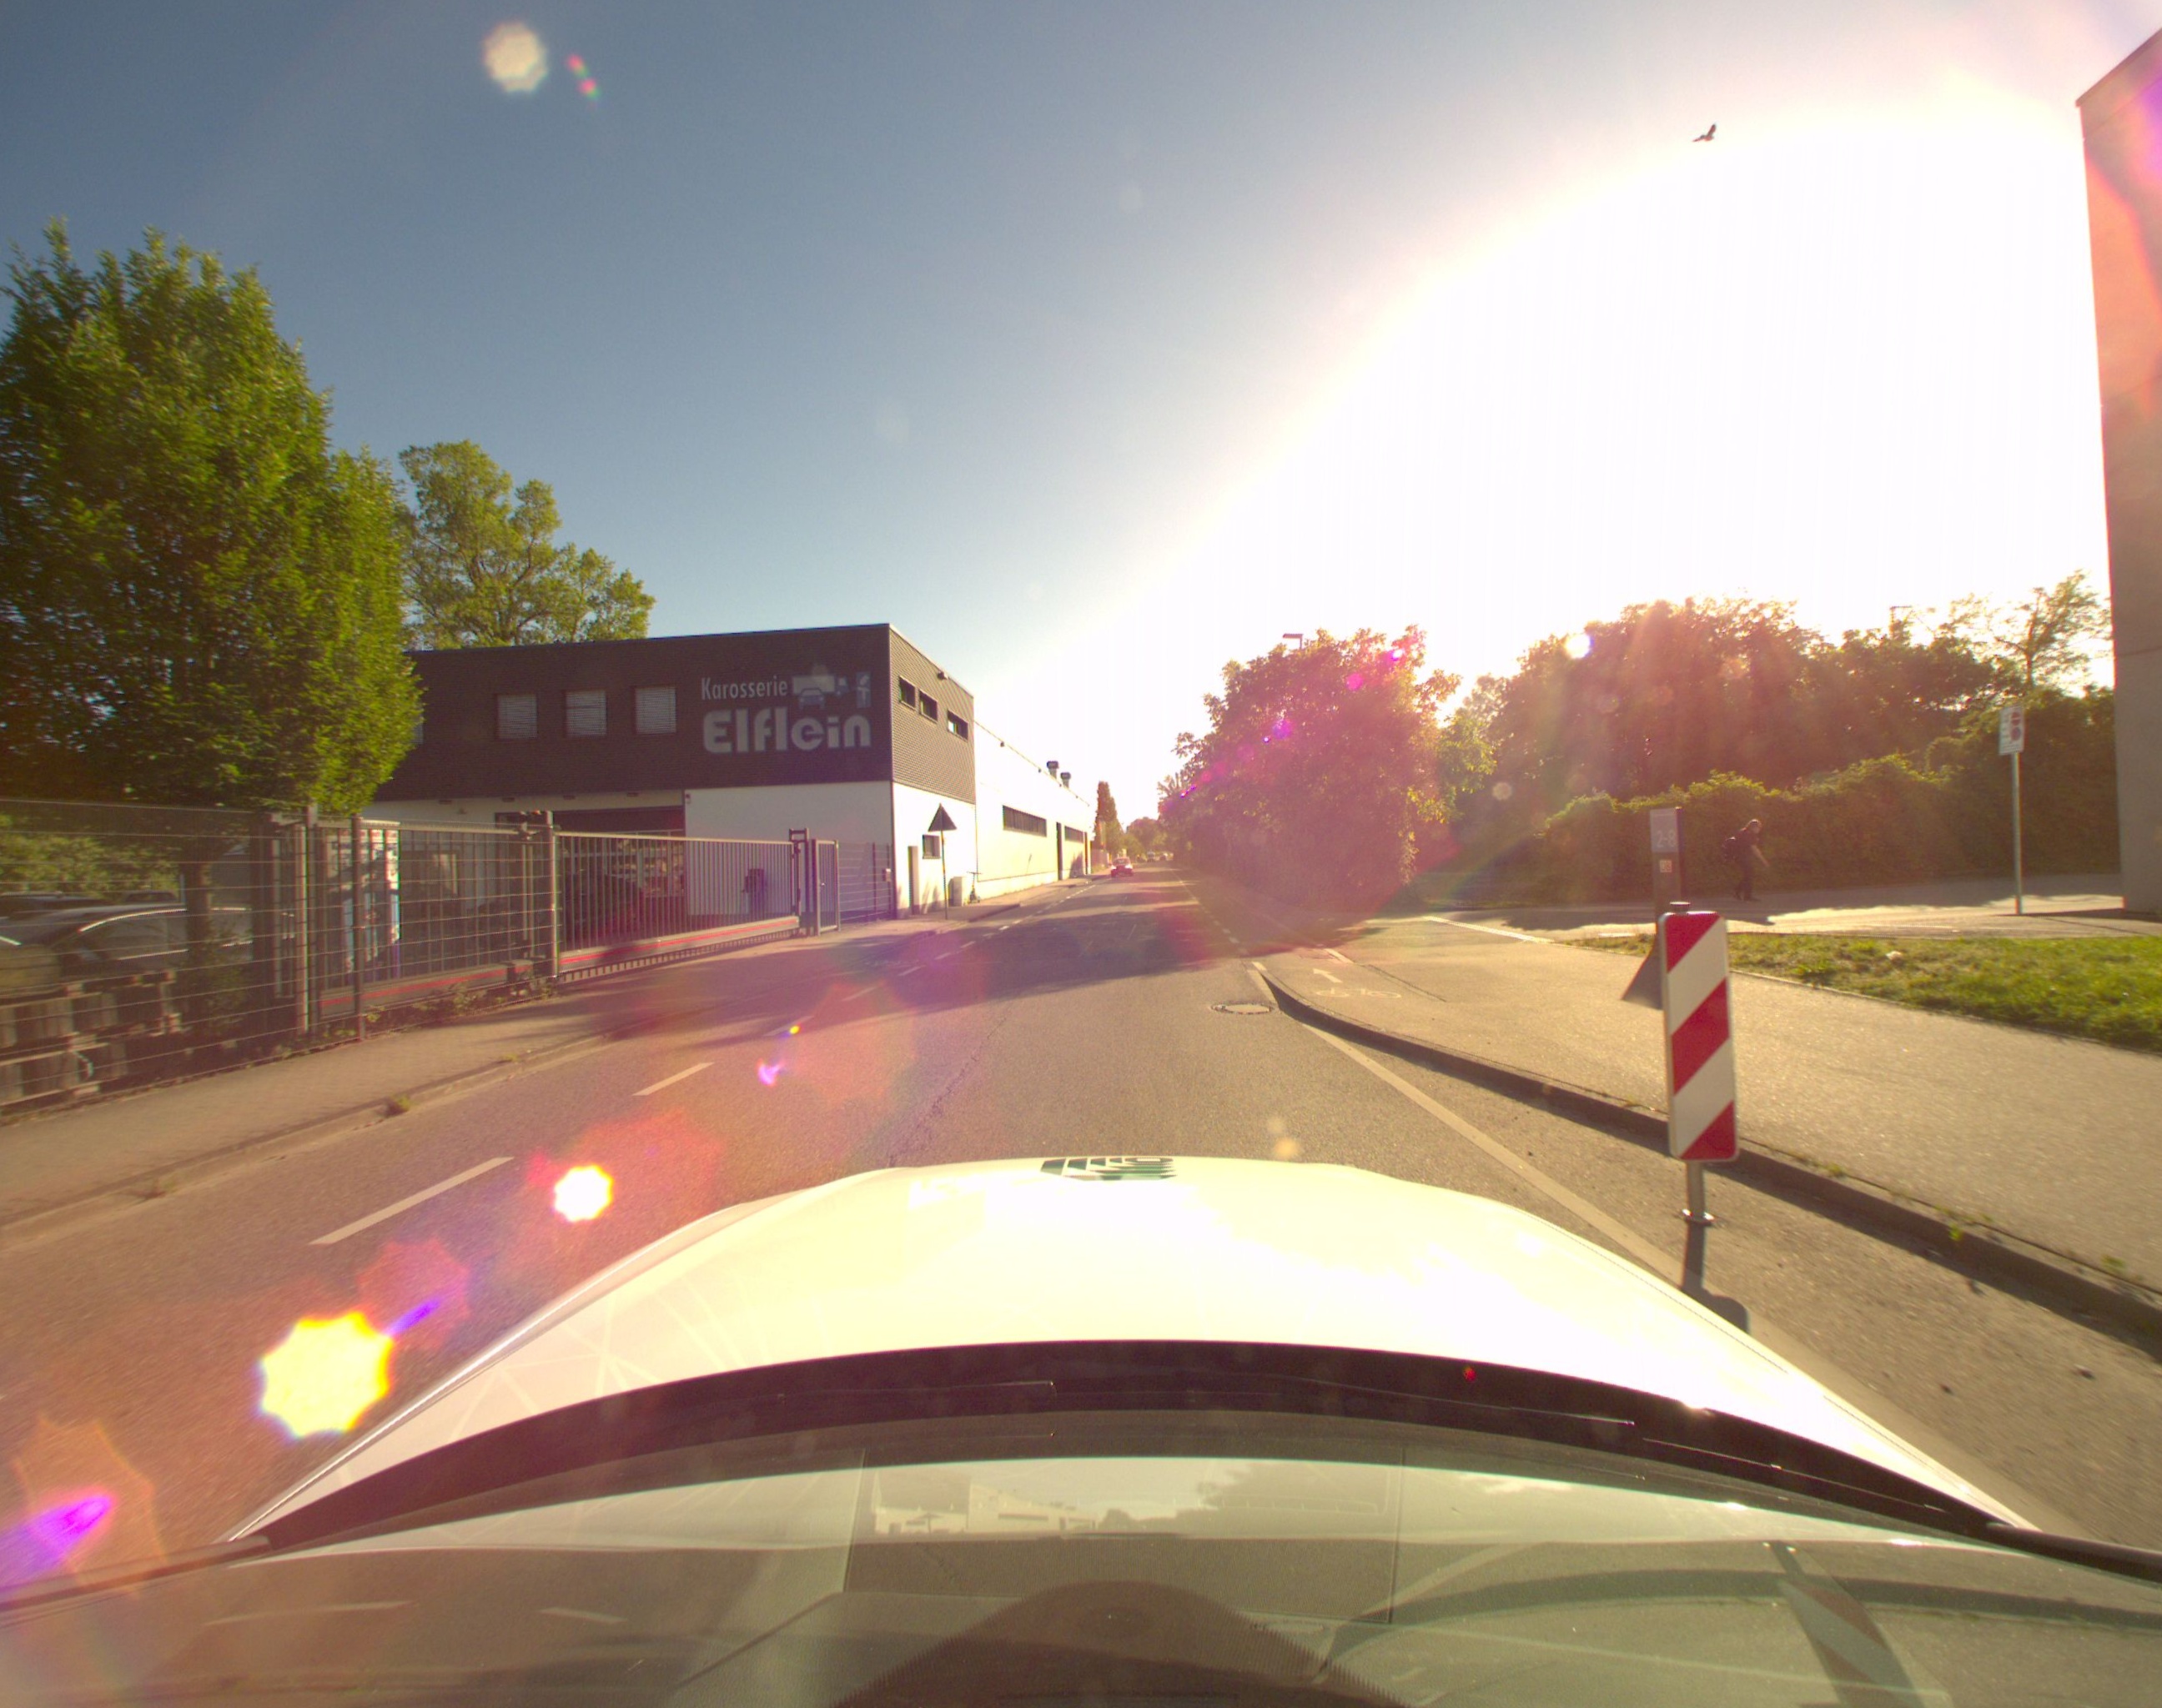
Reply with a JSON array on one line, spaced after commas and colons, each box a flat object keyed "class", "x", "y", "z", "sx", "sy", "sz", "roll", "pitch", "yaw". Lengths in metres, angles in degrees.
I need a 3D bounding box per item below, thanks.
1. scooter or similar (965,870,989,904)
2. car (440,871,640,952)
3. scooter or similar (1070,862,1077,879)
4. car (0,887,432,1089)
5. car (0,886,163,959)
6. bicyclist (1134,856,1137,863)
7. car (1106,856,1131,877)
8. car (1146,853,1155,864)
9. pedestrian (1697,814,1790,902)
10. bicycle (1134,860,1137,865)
[{"class": "scooter or similar", "x": -3.935, "y": 1.232, "z": 30.964, "sx": 0.504, "sy": 1.203, "sz": 1.756, "roll": 1, "pitch": 0, "yaw": 6}, {"class": "car", "x": -13.147, "y": 1.328, "z": 20.176, "sx": 1.861, "sy": 1.540, "sz": 4.184, "roll": -3, "pitch": 1, "yaw": 4}, {"class": "scooter or similar", "x": -0.605, "y": 1.310, "z": 64.891, "sx": 0.414, "sy": 1.267, "sz": 1.061, "roll": -2, "pitch": 0, "yaw": 5}, {"class": "car", "x": -9.728, "y": 1.251, "z": 8.881, "sx": 1.861, "sy": 1.540, "sz": 4.004, "roll": -3, "pitch": 0, "yaw": 4}, {"class": "car", "x": -26.975, "y": 1.801, "z": 21.127, "sx": 4.240, "sy": 1.650, "sz": 2.013, "roll": -3, "pitch": -1, "yaw": 5}, {"class": "bicyclist", "x": 12.776, "y": 1.259, "z": 190.650, "sx": 0.686, "sy": 1.532, "sz": 0.723, "roll": 0, "pitch": 0, "yaw": 5}, {"class": "car", "x": 3.113, "y": 1.035, "z": 66.658, "sx": 1.810, "sy": 1.489, "sz": 4.004, "roll": -5, "pitch": -1, "yaw": 4}, {"class": "car", "x": 17.855, "y": 1.126, "z": 209.632, "sx": 2.112, "sy": 2.780, "sz": 5.935, "roll": -4, "pitch": -1, "yaw": 6}, {"class": "pedestrian", "x": 14.423, "y": 0.090, "z": 17.763, "sx": 1.148, "sy": 1.792, "sz": 0.896, "roll": -5, "pitch": -1, "yaw": 1}, {"class": "bicycle", "x": 12.779, "y": 1.942, "z": 190.611, "sx": 0.686, "sy": 1.034, "sz": 1.353, "roll": 0, "pitch": 0, "yaw": 5}]
